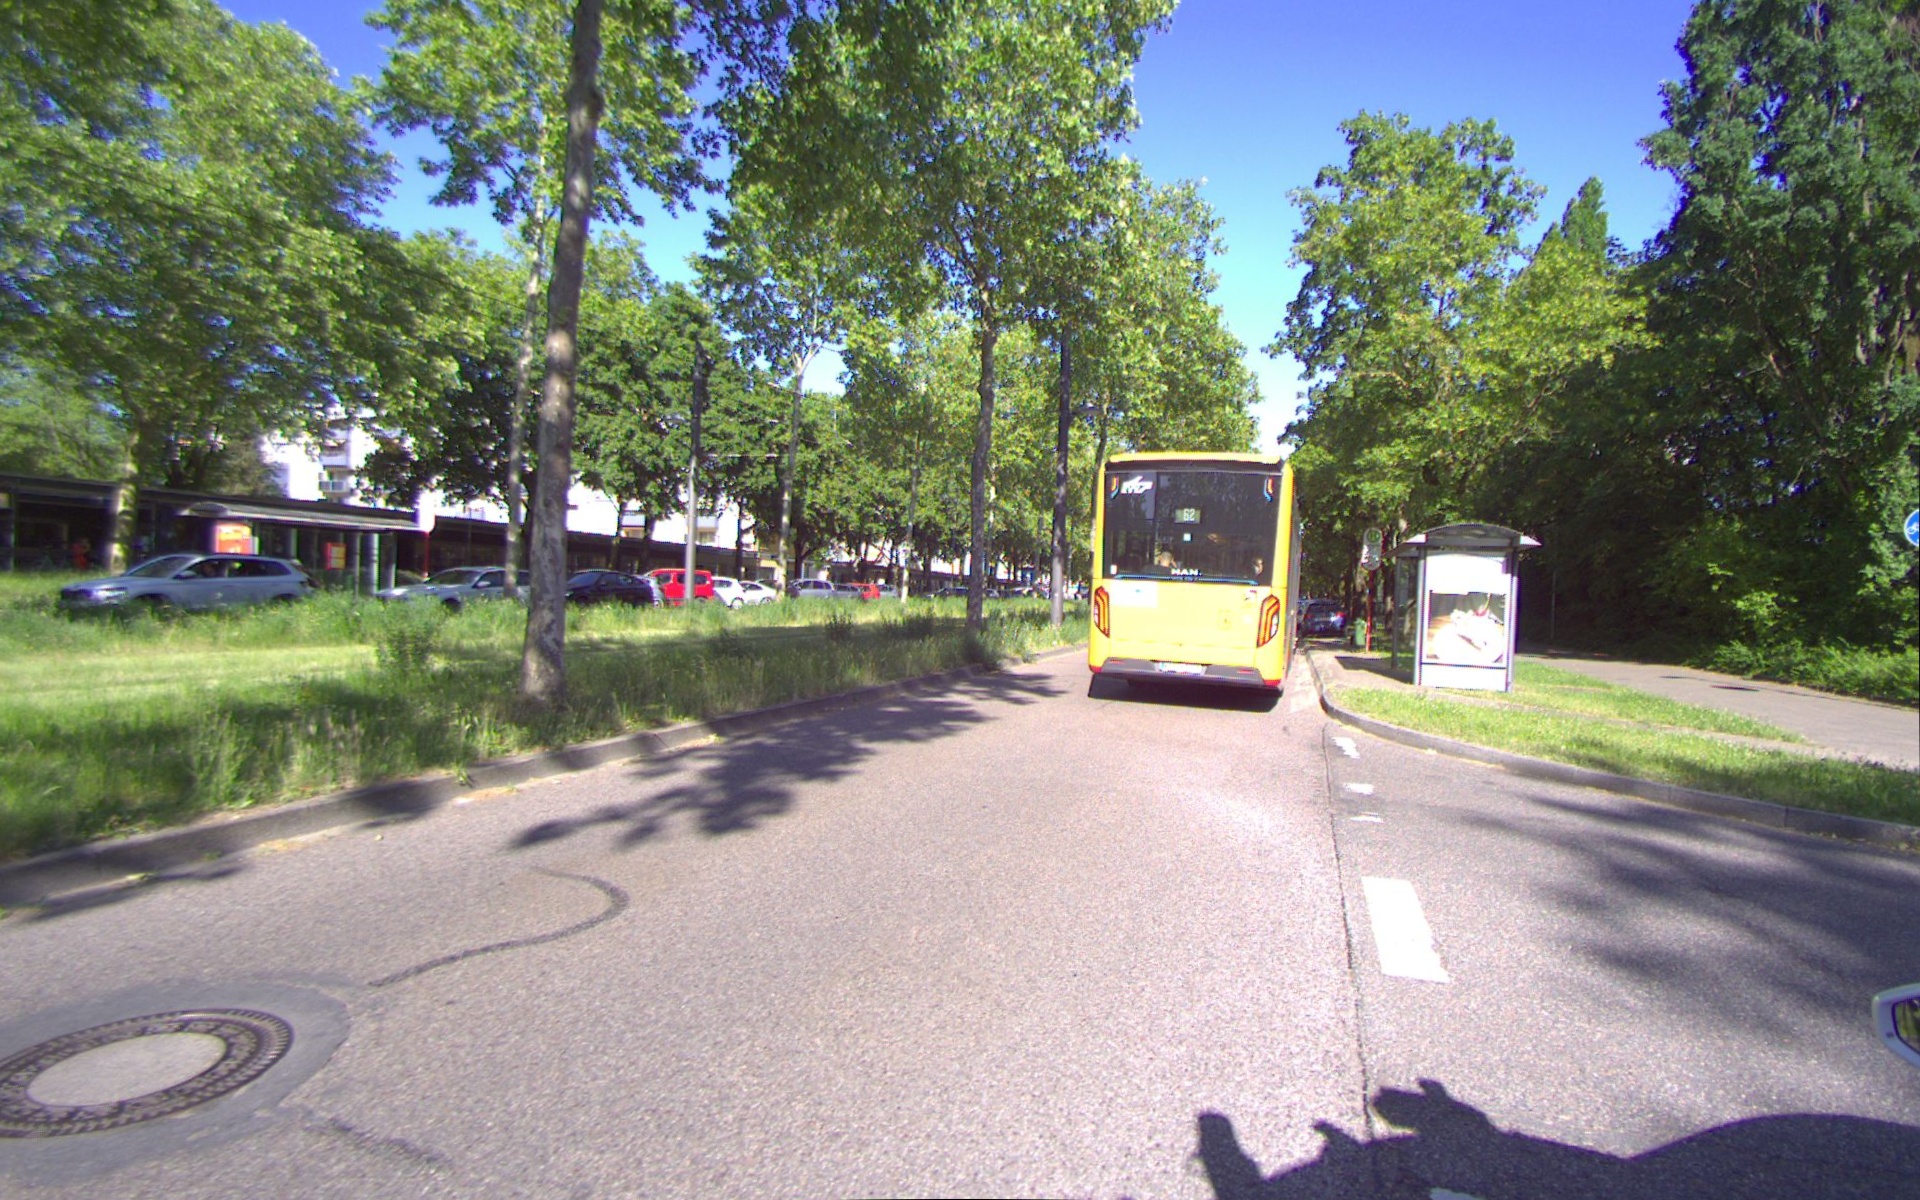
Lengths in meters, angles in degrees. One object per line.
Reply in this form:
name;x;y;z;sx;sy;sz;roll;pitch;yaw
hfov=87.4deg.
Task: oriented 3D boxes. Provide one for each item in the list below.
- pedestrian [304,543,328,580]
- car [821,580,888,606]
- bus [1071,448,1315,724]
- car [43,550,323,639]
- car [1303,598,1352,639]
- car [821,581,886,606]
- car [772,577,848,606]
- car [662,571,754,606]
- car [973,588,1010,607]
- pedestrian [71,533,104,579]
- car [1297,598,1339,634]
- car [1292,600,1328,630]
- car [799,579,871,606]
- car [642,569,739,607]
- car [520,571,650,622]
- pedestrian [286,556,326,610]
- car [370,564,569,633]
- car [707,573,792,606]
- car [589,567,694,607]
pedestrian;-30.373;-1.799;47.355;0.637;1.683;0.650;2;1;15
car;-6.790;-0.455;64.711;3.947;1.530;1.788;2;1;-26
bus;4.882;-0.198;18.284;2.852;3.310;12.217;3;1;19
car;-15.851;-0.103;20.796;1.765;1.601;4.287;2;1;21
car;15.013;0.738;41.161;1.764;1.530;4.000;2;1;19
car;-7.146;-0.416;67.397;3.947;1.530;1.788;2;1;-26
car;-8.654;-0.480;57.907;3.947;1.530;1.788;2;1;-26
car;-12.037;-0.547;47.923;3.947;1.530;1.788;2;1;-26
car;2.701;-0.211;85.544;1.765;1.530;3.997;2;1;24
pedestrian;-32.480;-1.625;37.396;0.637;1.683;0.650;2;1;15
car;16.948;0.731;47.632;1.764;1.530;4.000;2;1;19
car;19.081;0.785;54.778;1.764;1.530;4.000;2;0;19
car;-7.642;-0.450;61.437;3.947;1.530;1.788;2;1;-26
car;-12.113;-0.530;45.169;3.947;1.530;1.788;2;1;-26
car;-12.259;-0.113;33.095;1.765;1.530;3.998;2;1;22
pedestrian;-18.350;-0.465;28.192;0.637;1.479;0.650;2;1;22
car;-12.297;-0.034;25.574;1.764;1.530;4.675;2;1;18
car;-10.793;-0.556;51.454;3.947;1.530;1.788;2;1;-26
car;-13.272;-0.533;41.902;3.947;1.530;1.788;2;1;-26
